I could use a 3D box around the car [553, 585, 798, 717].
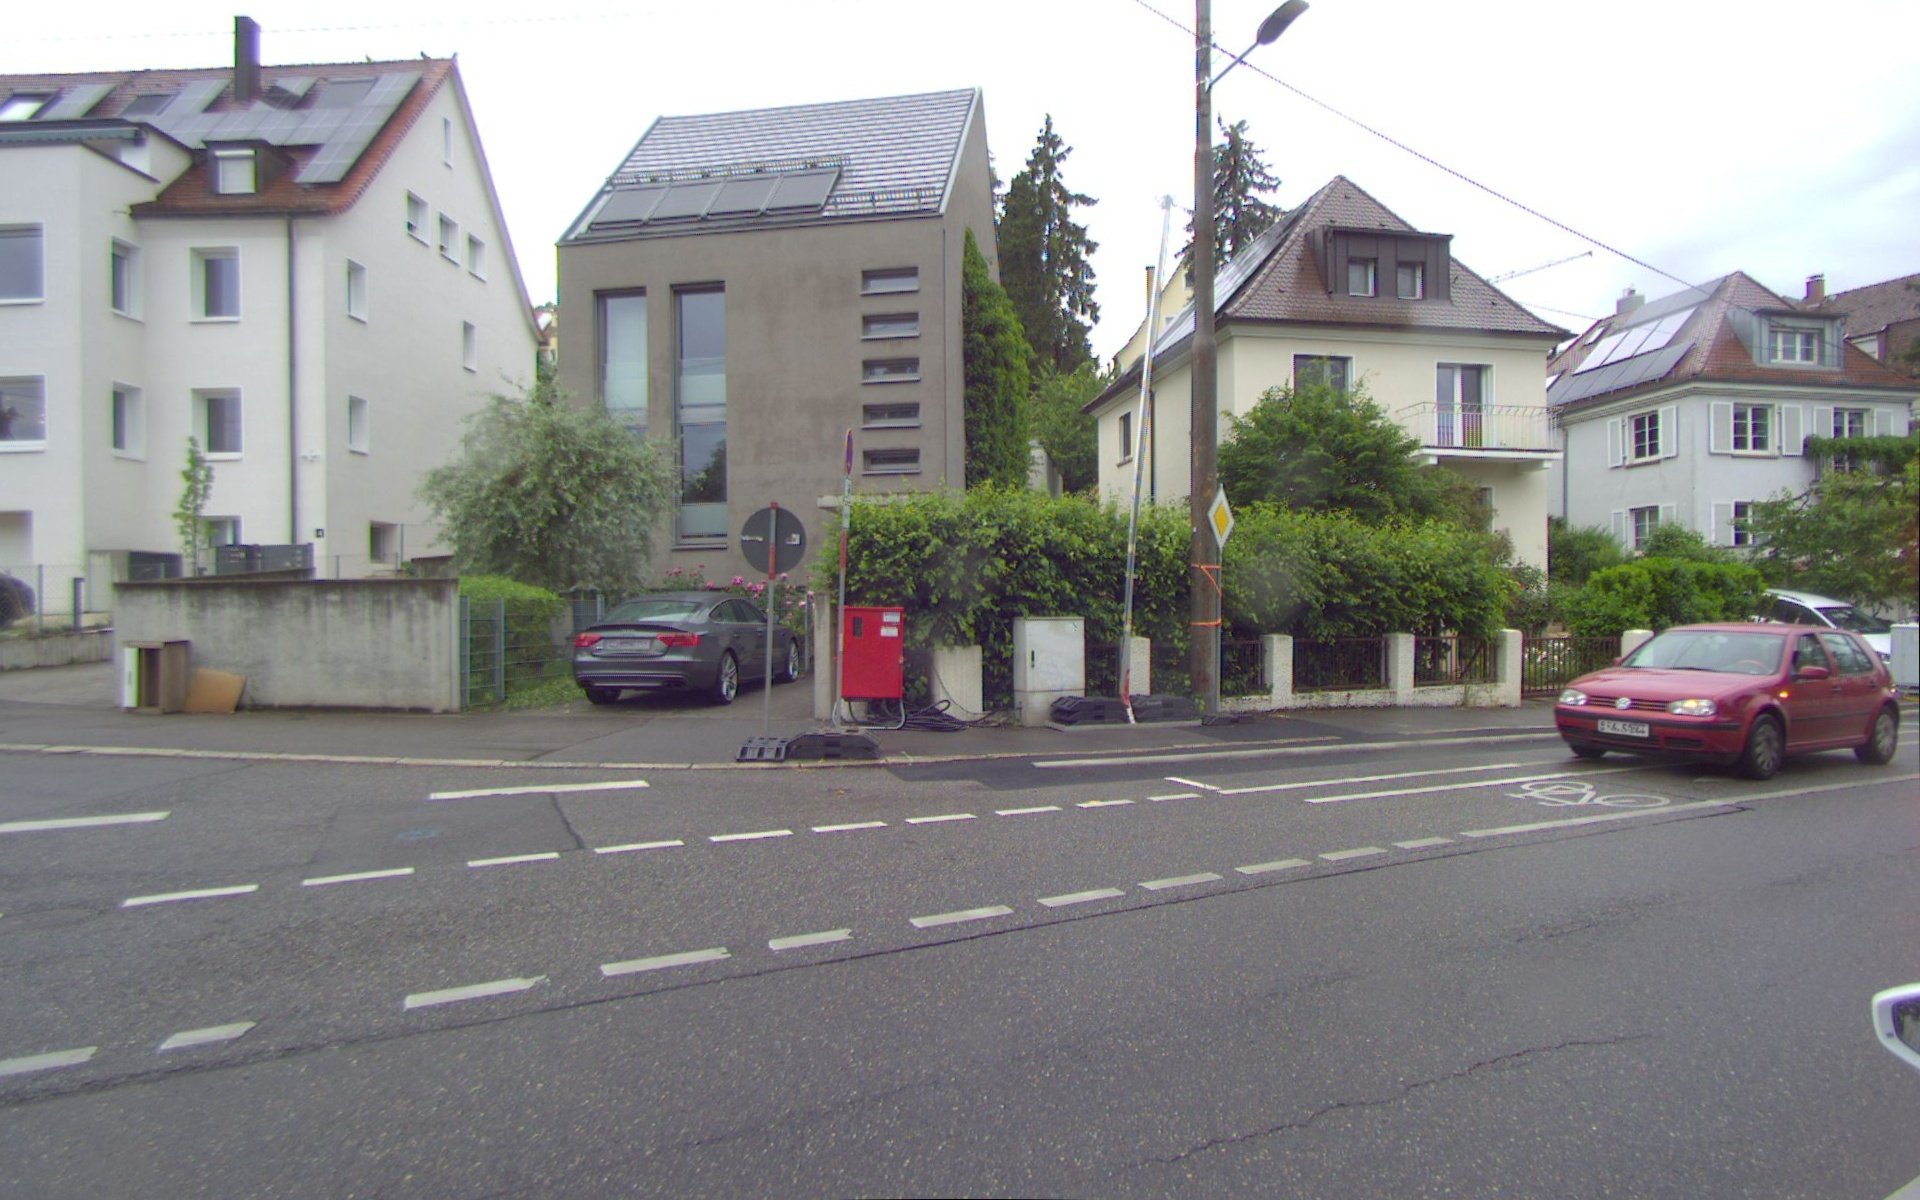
[{"bbox_3d":[-3.612,0.560,13.577,1.740,1.506,4.002,0,1,7],"label":"car"}]

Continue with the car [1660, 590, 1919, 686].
[{"bbox_3d":[19.593,0.812,23.913,1.870,2.033,4.628,1,0,-18],"label":"car"}]

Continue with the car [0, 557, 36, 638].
[{"bbox_3d":[-16.735,0.045,15.170,1.576,1.298,4.008,2,4,6],"label":"car"}]

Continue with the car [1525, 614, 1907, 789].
[{"bbox_3d":[7.895,0.920,10.452,3.838,1.483,1.756,1,0,-29],"label":"car"}]
